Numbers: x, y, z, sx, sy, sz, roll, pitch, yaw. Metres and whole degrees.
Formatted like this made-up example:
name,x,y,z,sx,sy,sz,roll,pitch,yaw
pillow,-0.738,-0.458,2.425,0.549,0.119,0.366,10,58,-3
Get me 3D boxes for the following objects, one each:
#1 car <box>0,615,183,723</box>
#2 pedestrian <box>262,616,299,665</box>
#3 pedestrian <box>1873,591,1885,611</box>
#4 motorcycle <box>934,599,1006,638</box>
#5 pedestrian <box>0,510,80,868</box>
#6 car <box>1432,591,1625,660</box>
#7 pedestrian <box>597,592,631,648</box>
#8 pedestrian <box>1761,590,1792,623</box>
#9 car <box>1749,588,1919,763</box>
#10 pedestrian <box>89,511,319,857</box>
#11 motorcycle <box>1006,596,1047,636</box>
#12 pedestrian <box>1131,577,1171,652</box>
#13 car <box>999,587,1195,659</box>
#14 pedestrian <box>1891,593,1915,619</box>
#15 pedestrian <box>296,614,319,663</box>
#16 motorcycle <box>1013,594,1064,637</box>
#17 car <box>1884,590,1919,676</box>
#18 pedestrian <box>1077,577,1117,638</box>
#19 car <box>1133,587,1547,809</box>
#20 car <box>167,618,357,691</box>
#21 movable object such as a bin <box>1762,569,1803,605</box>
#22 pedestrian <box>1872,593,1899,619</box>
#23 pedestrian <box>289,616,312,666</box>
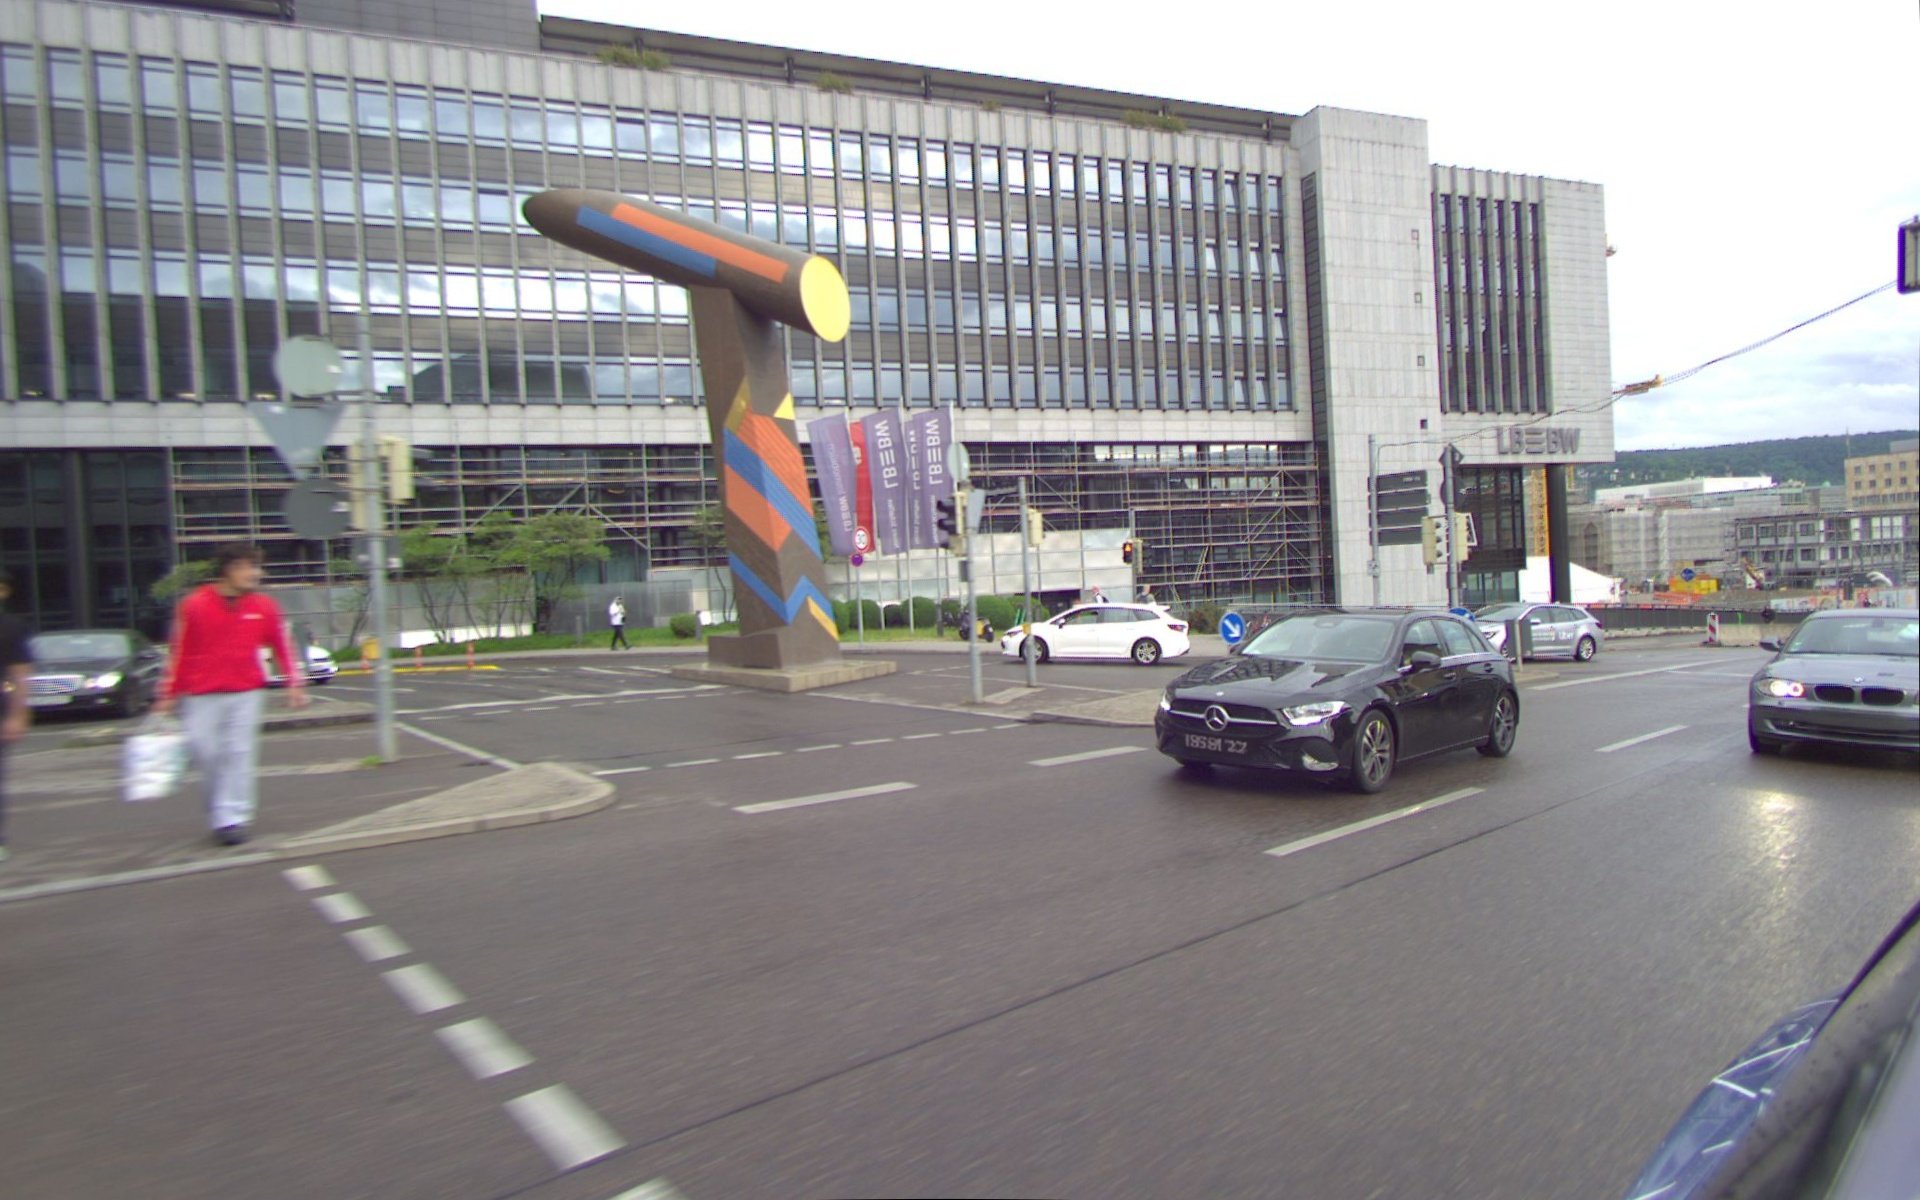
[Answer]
name,x,y,z,sx,sy,sz,roll,pitch,yaw
car,-14.632,1.045,16.916,1.830,1.460,4.719,-3,1,-29
pedestrian,-25.396,1.502,37.831,0.885,1.769,0.946,-1,-1,-14
pedestrian,80.943,0.109,89.144,0.485,1.770,0.569,-3,1,-22
motorcycle,0.297,0.570,32.446,2.563,1.094,0.625,3,3,43
pedestrian,-5.601,0.485,5.635,0.716,1.928,0.845,-1,0,-14
car,13.965,0.577,24.851,4.520,1.469,1.709,-2,0,-24
pedestrian,-11.735,0.672,34.341,0.766,1.840,0.971,-3,1,1
pedestrian,42.729,0.337,52.945,1.039,1.673,0.733,-2,0,-12
car,9.386,0.628,10.143,3.933,1.461,1.741,-1,0,-43
pedestrian,-4.543,0.459,6.163,0.843,1.928,0.845,-1,0,-14
motorcycle,2.172,0.519,33.152,1.240,1.286,0.610,0,0,43
pedestrian,5.541,0.418,29.377,0.846,2.126,0.896,-3,-2,27
car,3.315,0.545,24.366,4.510,1.655,1.770,-1,0,12
pedestrian,59.665,0.359,64.026,0.788,1.594,0.735,-3,0,-12
pedestrian,-23.809,1.405,36.937,0.541,1.769,0.563,-1,-1,-14
motorcycle,2.607,0.500,33.738,1.723,1.371,0.597,0,0,43
car,19.553,0.585,19.352,4.139,1.568,1.970,-1,0,-36
pedestrian,4.090,0.219,30.209,0.829,1.732,0.730,-3,1,-41
car,3.552,0.654,9.065,4.155,1.424,1.757,-2,3,-42
car,-17.377,1.351,25.228,3.947,1.459,1.857,-4,1,19
movable object such as a bin,83.488,-1.333,102.728,4.150,3.451,1.944,-3,1,-33
pedestrian,59.208,0.364,64.767,0.933,1.613,0.865,-3,1,-12
pedestrian,-23.670,1.455,36.320,0.541,1.769,0.563,-1,-1,-14
